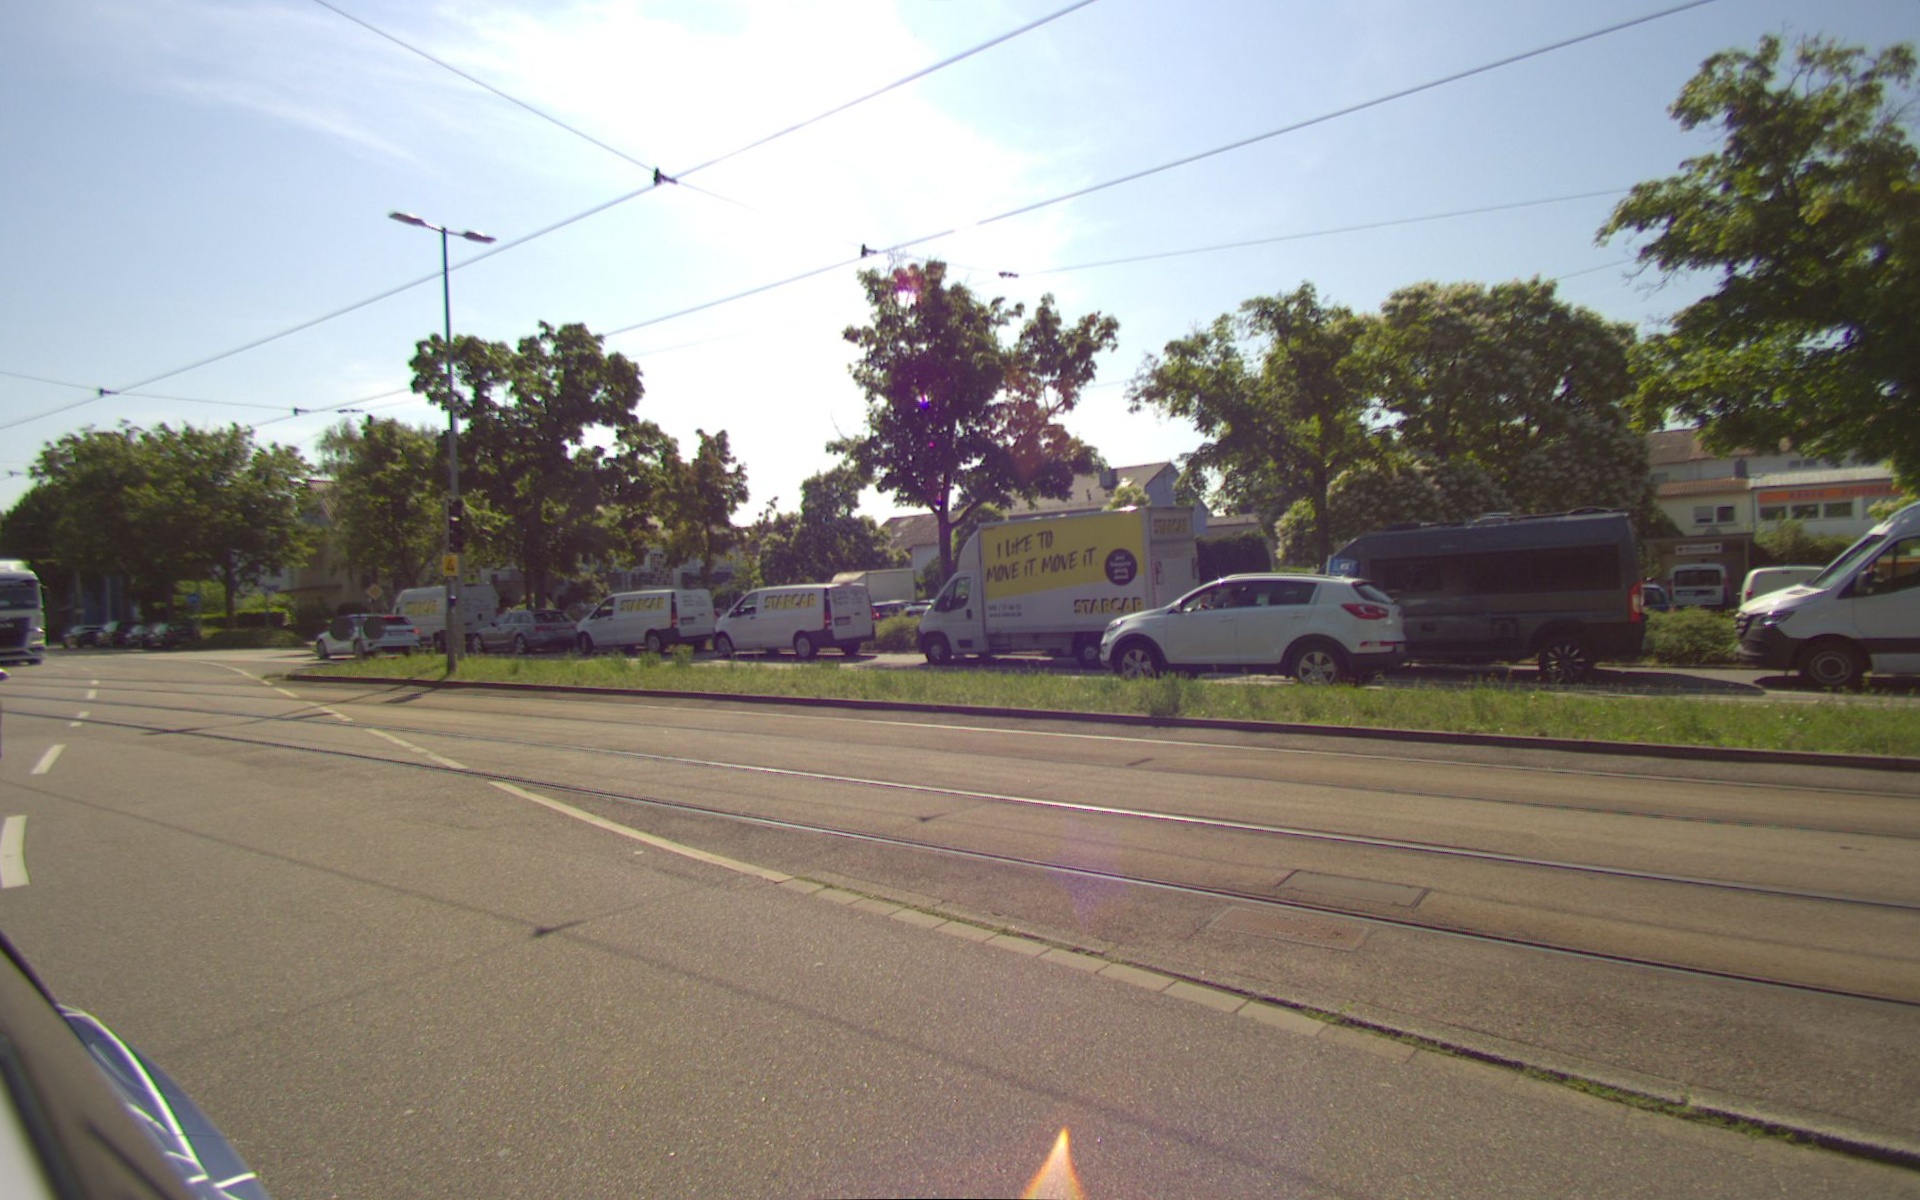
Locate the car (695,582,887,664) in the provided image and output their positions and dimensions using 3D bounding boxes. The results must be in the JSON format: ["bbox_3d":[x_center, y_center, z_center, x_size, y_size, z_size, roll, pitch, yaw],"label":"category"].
[{"bbox_3d":[-4.665,0.635,27.569,5.177,1.955,2.175,-2,2,38],"label":"car"}]

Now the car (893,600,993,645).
[{"bbox_3d":[-0.575,0.802,37.341,1.660,1.556,3.952,-2,0,36],"label":"car"}]

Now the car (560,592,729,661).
[{"bbox_3d":[-9.928,0.835,31.721,5.168,1.955,2.179,-2,1,33],"label":"car"}]

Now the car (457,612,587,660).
[{"bbox_3d":[-15.184,1.230,34.983,4.876,1.465,1.915,-2,1,37],"label":"car"}]

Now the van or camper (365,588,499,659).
[{"bbox_3d":[-20.432,0.926,39.045,6.138,2.534,2.236,-2,-1,38],"label":"van or camper"}]

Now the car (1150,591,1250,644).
[{"bbox_3d":[7.598,0.515,31.767,1.660,1.556,3.952,-2,0,36],"label":"car"}]

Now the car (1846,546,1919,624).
[{"bbox_3d":[28.818,-0.464,30.985,1.905,2.216,3.955,-2,-1,33],"label":"car"}]

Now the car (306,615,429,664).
[{"bbox_3d":[-19.207,1.256,32.731,4.325,1.433,1.776,-2,0,35],"label":"car"}]

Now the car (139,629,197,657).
[{"bbox_3d":[-44.152,2.392,56.389,4.077,1.461,1.600,-2,-1,38],"label":"car"}]

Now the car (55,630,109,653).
[{"bbox_3d":[-57.902,2.731,66.740,4.447,1.446,1.661,-2,-1,35],"label":"car"}]

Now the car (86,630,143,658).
[{"bbox_3d":[-52.459,2.705,62.777,4.232,1.625,1.661,-1,0,35],"label":"car"}]

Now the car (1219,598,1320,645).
[{"bbox_3d":[9.243,0.612,30.013,1.660,1.280,3.952,-2,0,36],"label":"car"}]

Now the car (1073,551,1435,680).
[{"bbox_3d":[4.184,0.266,14.797,4.652,1.609,2.024,-2,-2,38],"label":"car"}]

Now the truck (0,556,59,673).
[{"bbox_3d":[-39.662,0.666,39.778,14.260,4.099,3.353,-1,2,37],"label":"truck"}]

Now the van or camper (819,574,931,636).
[{"bbox_3d":[-4.737,0.261,57.745,2.575,3.269,6.892,-2,-1,34],"label":"van or camper"}]

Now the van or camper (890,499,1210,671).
[{"bbox_3d":[1.788,-0.242,22.145,6.762,3.265,2.175,-2,1,38],"label":"van or camper"}]

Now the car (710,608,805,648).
[{"bbox_3d":[-8.687,1.184,43.773,1.660,1.556,3.952,-2,0,36],"label":"car"}]

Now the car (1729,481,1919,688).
[{"bbox_3d":[13.791,-0.283,13.109,5.968,2.650,2.176,-2,1,37],"label":"car"}]

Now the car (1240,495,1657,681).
[{"bbox_3d":[8.167,-0.140,17.317,6.069,2.688,2.176,-2,1,37],"label":"car"}]

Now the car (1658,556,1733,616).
[{"bbox_3d":[26.641,-0.485,36.750,1.905,2.018,3.955,-2,-1,33],"label":"car"}]

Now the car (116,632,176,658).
[{"bbox_3d":[-47.889,2.633,59.504,4.572,1.405,1.681,-2,-1,37],"label":"car"}]

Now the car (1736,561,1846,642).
[{"bbox_3d":[19.048,0.036,23.325,1.660,1.707,3.952,-2,0,36],"label":"car"}]

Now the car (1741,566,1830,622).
[{"bbox_3d":[26.604,-0.199,32.737,1.741,1.665,3.955,-2,-1,33],"label":"car"}]

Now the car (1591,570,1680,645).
[{"bbox_3d":[16.739,0.174,25.002,1.660,1.707,3.952,-2,0,36],"label":"car"}]
